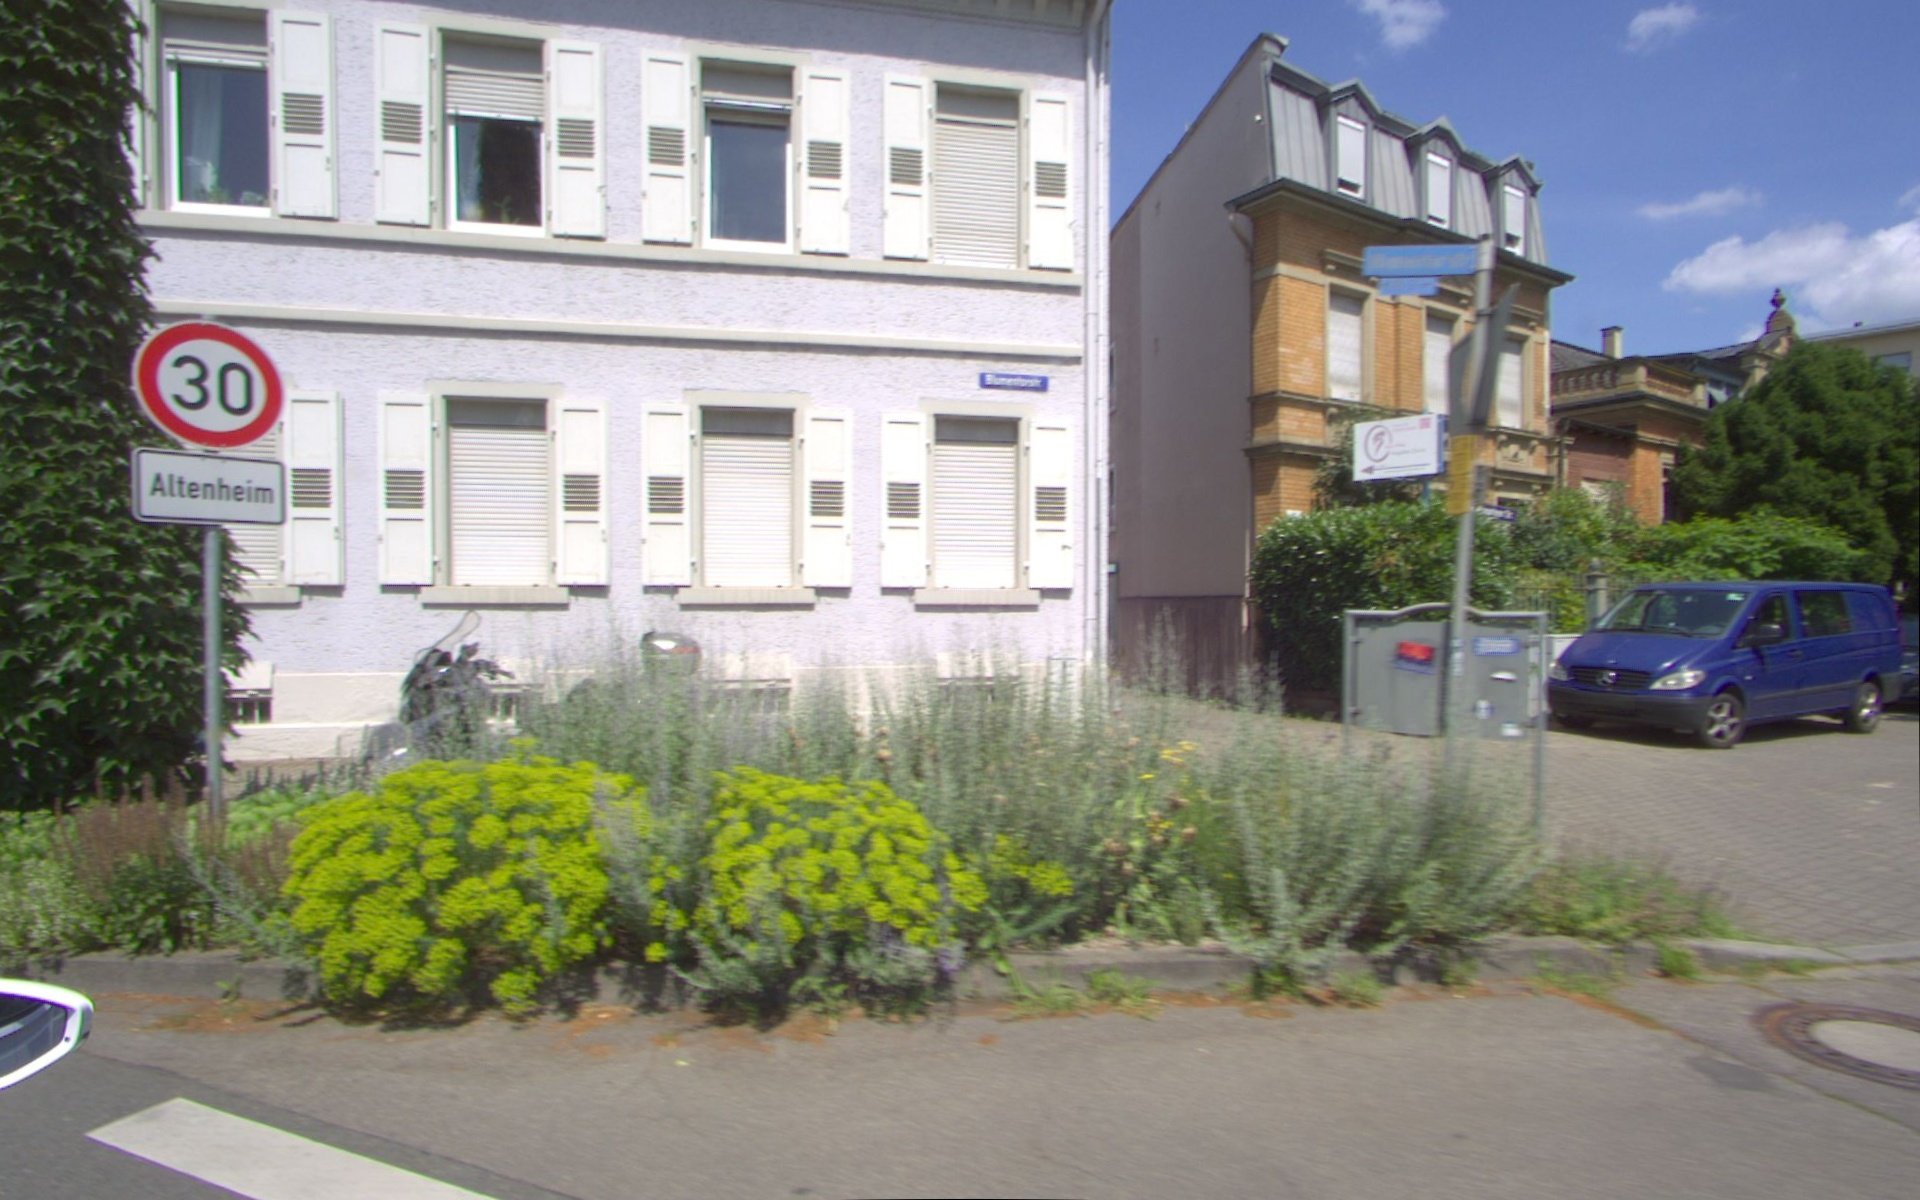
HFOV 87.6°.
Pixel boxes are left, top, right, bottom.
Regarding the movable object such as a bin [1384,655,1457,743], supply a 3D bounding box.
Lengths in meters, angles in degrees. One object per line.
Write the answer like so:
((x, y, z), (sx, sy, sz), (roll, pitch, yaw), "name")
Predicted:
((5.395, 1.147, 11.762), (0.622, 0.974, 0.617), (0, 0, 7), "movable object such as a bin")

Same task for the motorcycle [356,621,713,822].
((-3.068, 0.854, 7.441), (2.293, 1.370, 0.802), (0, 0, -6), "motorcycle")

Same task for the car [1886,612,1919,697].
((19.693, 1.028, 19.254), (3.946, 1.578, 1.829), (0, 0, -33), "car")

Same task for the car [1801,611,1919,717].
((15.521, 0.979, 16.405), (3.804, 1.546, 1.702), (1, 1, -35), "car")

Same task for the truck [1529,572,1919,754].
((9.827, 0.685, 12.677), (5.199, 1.952, 1.907), (1, 2, -26), "truck")
